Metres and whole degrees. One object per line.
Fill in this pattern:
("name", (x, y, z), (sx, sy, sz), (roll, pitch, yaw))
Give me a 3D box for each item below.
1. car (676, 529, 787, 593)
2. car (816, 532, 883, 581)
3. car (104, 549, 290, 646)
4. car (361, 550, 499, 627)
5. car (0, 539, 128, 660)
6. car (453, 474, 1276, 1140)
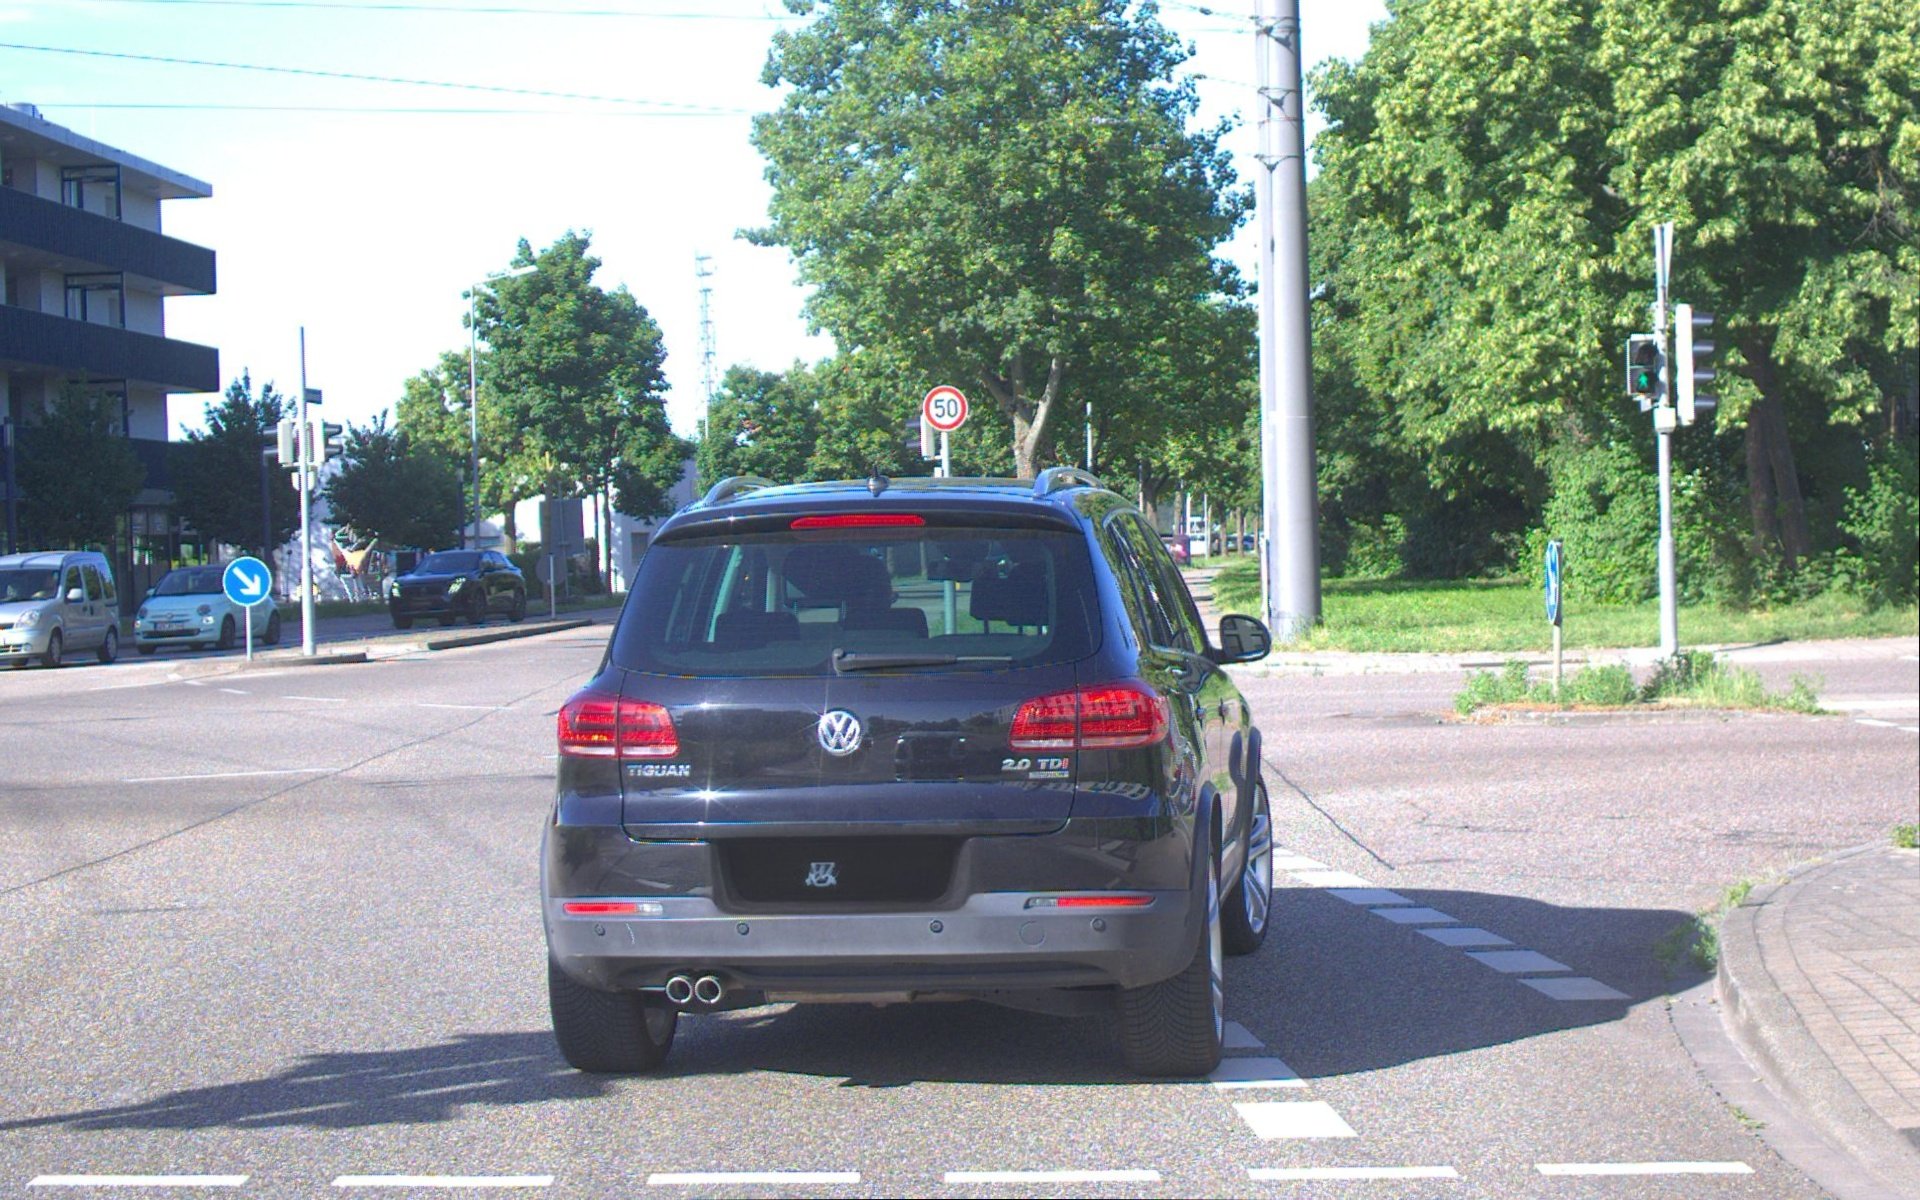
("car", (-5.962, -1.036, 90.229), (1.994, 1.566, 3.999), (-2, 1, 9))
("car", (-4.094, -1.642, 128.222), (1.994, 1.731, 5.199), (-2, 1, 3))
("car", (-13.346, -0.069, 60.303), (1.994, 1.482, 3.543), (-4, 1, 8))
("car", (-11.398, -0.270, 74.248), (1.967, 1.529, 4.740), (-2, 1, 3))
("car", (-14.273, -0.030, 52.308), (1.993, 1.749, 4.362), (-2, 1, 2))
("car", (-0.051, 0.474, 10.901), (1.930, 1.649, 4.513), (0, 1, 7))
